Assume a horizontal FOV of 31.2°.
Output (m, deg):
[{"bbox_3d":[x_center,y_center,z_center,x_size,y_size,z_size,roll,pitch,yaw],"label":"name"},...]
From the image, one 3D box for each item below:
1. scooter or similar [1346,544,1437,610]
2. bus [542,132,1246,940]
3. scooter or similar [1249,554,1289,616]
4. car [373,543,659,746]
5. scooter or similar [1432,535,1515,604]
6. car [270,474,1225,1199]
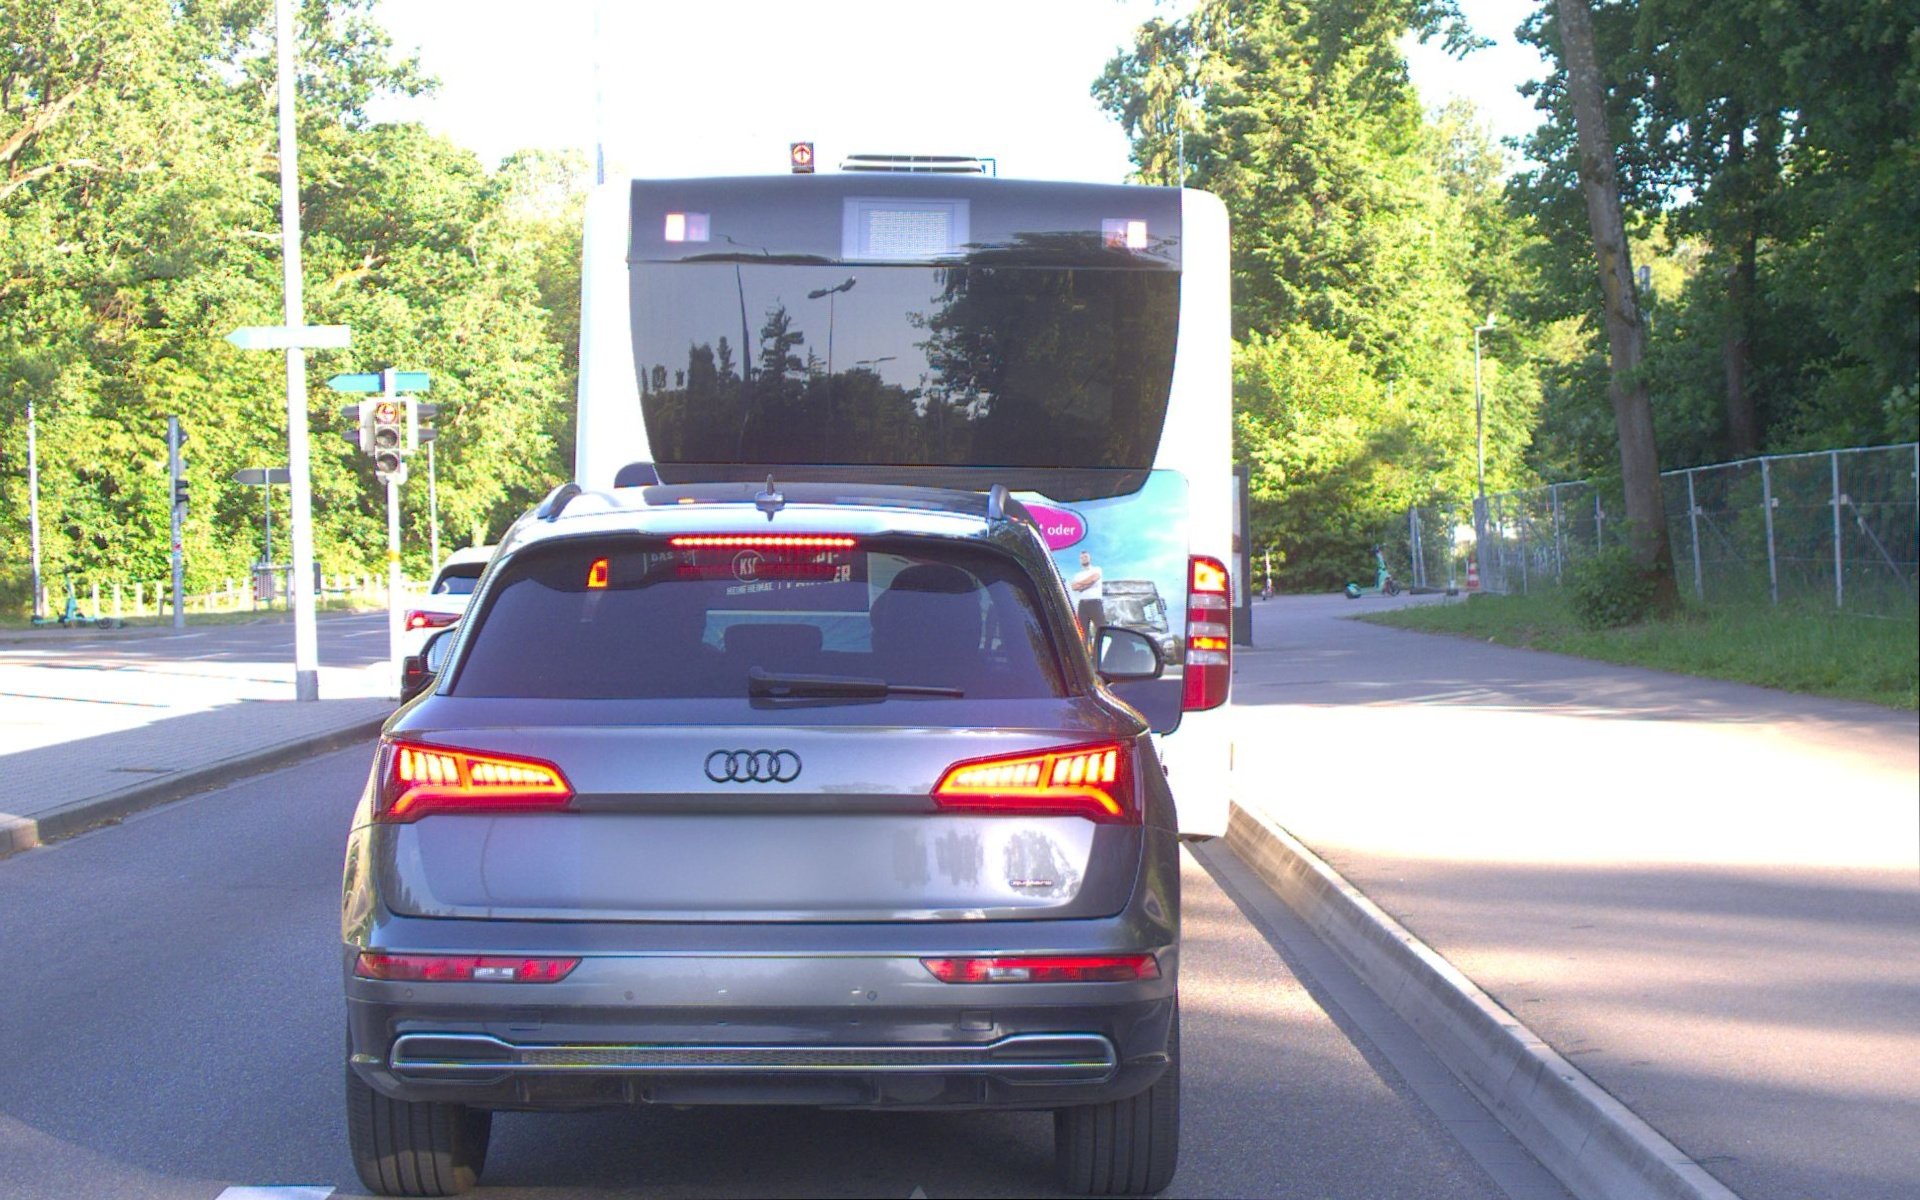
[{"bbox_3d":[9.854,-0.522,78.500,2.015,1.439,0.606,-2,1,-25],"label":"scooter or similar"},{"bbox_3d":[-0.296,-0.267,17.364,2.594,2.979,9.327,0,0,-1],"label":"bus"},{"bbox_3d":[7.295,-0.370,81.190,0.508,1.439,2.023,-2,1,-6],"label":"scooter or similar"},{"bbox_3d":[-3.532,0.302,28.021,1.836,1.513,4.000,-1,1,-1],"label":"car"},{"bbox_3d":[11.919,-0.705,79.792,0.539,1.562,2.021,-2,1,-40],"label":"scooter or similar"},{"bbox_3d":[-0.448,0.535,8.874,1.898,1.626,4.000,0,1,-1],"label":"car"}]
